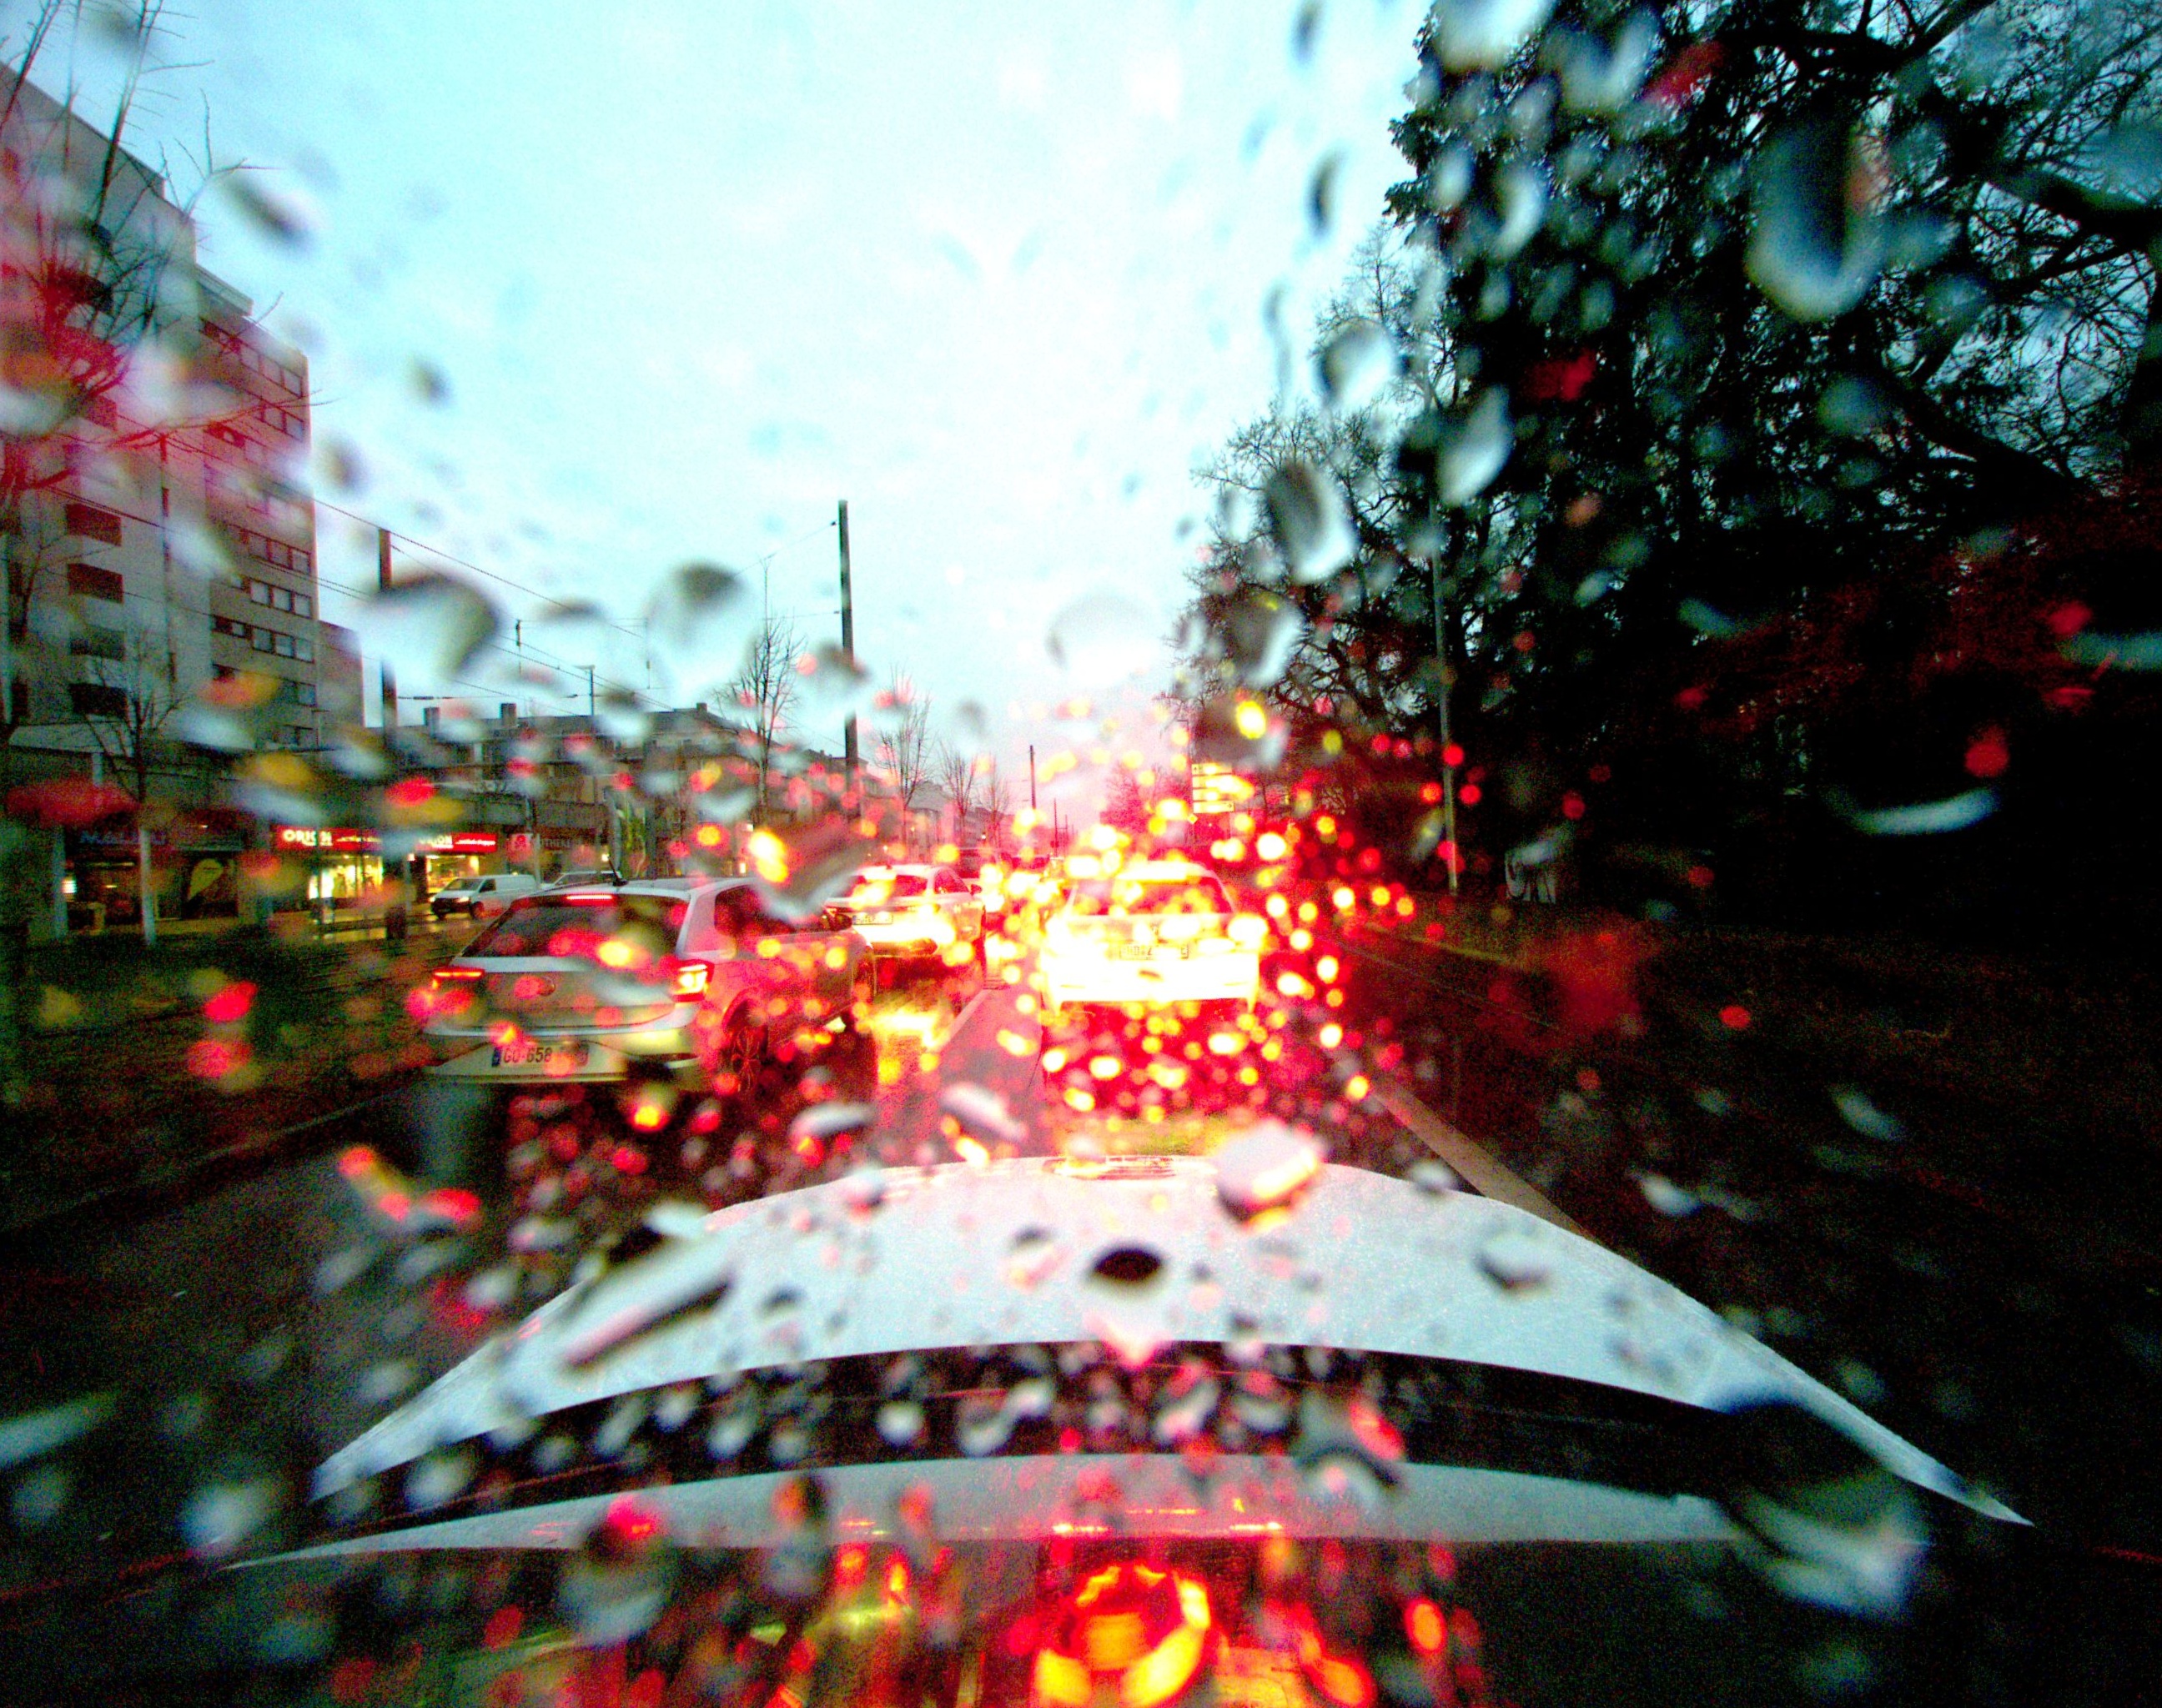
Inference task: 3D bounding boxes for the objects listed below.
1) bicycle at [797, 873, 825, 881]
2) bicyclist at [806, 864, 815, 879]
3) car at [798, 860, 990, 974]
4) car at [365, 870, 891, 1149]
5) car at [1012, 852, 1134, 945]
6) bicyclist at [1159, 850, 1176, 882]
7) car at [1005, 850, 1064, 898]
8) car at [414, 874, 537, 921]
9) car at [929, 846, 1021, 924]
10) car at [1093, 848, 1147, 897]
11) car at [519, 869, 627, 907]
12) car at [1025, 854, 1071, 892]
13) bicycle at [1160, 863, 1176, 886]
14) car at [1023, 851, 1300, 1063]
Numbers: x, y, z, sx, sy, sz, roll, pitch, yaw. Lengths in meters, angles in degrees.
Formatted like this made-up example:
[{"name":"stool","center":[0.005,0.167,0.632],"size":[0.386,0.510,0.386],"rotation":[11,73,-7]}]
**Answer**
[{"name":"bicycle","center":[-28.534,2.429,86.131],"size":[2.783,0.823,0.632],"rotation":[-1,-1,-26]},{"name":"bicyclist","center":[-28.608,1.806,86.106],"size":[0.792,1.579,0.632],"rotation":[-1,-1,-25]},{"name":"car","center":[-2.639,0.824,12.662],"size":[1.840,1.405,4.614],"rotation":[-1,0,1]},{"name":"car","center":[-2.847,0.857,6.271],"size":[1.756,1.371,3.981],"rotation":[-1,0,1]},{"name":"car","center":[-0.059,0.721,15.240],"size":[1.928,1.457,4.165],"rotation":[-2,0,2]},{"name":"bicyclist","center":[3.881,0.517,36.558],"size":[0.642,1.389,0.891],"rotation":[-2,0,4]},{"name":"car","center":[-1.656,0.694,30.235],"size":[1.800,1.646,4.002],"rotation":[-1,0,2]},{"name":"car","center":[-29.747,2.078,40.272],"size":[1.986,1.912,5.167],"rotation":[-3,0,2]},{"name":"car","center":[-2.573,0.717,20.673],"size":[1.788,1.736,4.535],"rotation":[-1,0,-1]},{"name":"car","center":[1.399,0.621,29.897],"size":[1.800,1.646,4.002],"rotation":[-1,0,2]},{"name":"car","center":[-30.734,2.017,49.361],"size":[5.193,1.912,1.975],"rotation":[-3,0,-44]},{"name":"car","center":[-1.488,0.837,37.896],"size":[1.800,1.646,4.002],"rotation":[-1,0,2]},{"name":"bicycle","center":[3.891,0.898,36.532],"size":[0.642,0.966,2.049],"rotation":[-2,0,4]},{"name":"car","center":[0.653,0.753,8.060],"size":[1.992,1.508,4.165],"rotation":[-2,0,2]}]
